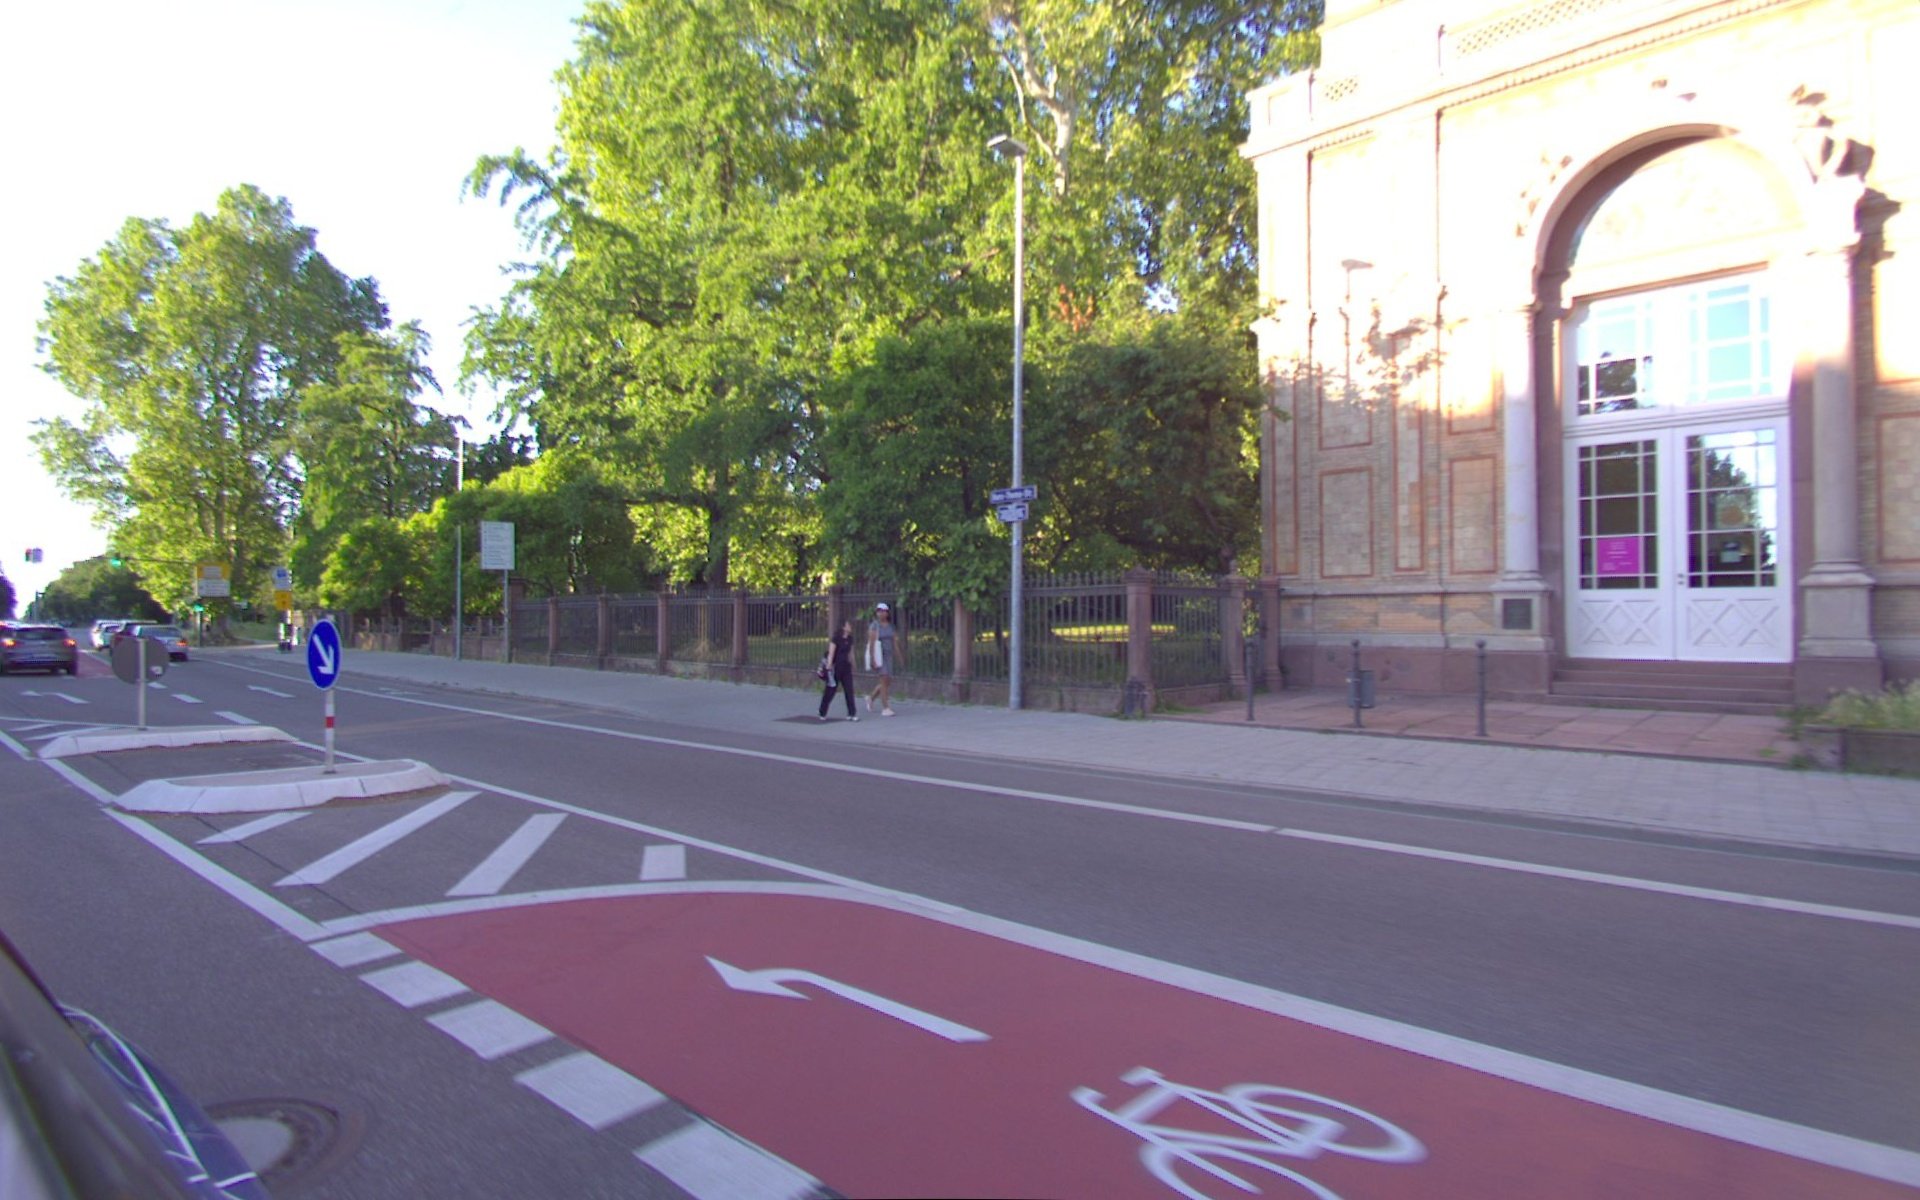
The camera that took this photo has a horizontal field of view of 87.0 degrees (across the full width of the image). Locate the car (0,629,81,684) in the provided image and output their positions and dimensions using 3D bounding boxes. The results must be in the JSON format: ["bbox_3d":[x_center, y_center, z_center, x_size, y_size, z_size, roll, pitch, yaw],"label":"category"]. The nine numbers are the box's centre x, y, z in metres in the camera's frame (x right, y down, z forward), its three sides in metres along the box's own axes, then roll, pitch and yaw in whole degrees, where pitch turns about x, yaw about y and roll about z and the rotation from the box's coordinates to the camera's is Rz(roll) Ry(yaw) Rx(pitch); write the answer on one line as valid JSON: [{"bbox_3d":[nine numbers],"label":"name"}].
[{"bbox_3d":[-26.711,1.574,28.950,3.997,1.475,1.753,-1,-3,40],"label":"car"}]

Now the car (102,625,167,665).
[{"bbox_3d":[-37.221,1.976,45.616,1.970,1.697,4.003,1,-2,-44],"label":"car"}]

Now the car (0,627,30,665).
[{"bbox_3d":[-43.173,2.041,45.388,3.895,1.633,1.877,-2,-2,43],"label":"car"}]

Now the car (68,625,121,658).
[{"bbox_3d":[-47.815,2.254,55.886,1.970,1.697,4.003,1,-2,-44],"label":"car"}]

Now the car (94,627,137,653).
[{"bbox_3d":[-56.347,2.649,67.513,1.970,1.697,4.003,1,-2,-44],"label":"car"}]

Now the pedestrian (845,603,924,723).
[{"bbox_3d":[-1.174,0.951,15.709,0.796,1.751,0.850,-3,1,-42],"label":"pedestrian"}]

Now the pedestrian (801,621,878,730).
[{"bbox_3d":[-1.796,1.106,15.092,0.836,1.524,0.666,-4,1,44],"label":"pedestrian"}]

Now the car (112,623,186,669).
[{"bbox_3d":[-31.562,1.749,39.351,1.893,1.697,4.003,1,-2,-44],"label":"car"}]
